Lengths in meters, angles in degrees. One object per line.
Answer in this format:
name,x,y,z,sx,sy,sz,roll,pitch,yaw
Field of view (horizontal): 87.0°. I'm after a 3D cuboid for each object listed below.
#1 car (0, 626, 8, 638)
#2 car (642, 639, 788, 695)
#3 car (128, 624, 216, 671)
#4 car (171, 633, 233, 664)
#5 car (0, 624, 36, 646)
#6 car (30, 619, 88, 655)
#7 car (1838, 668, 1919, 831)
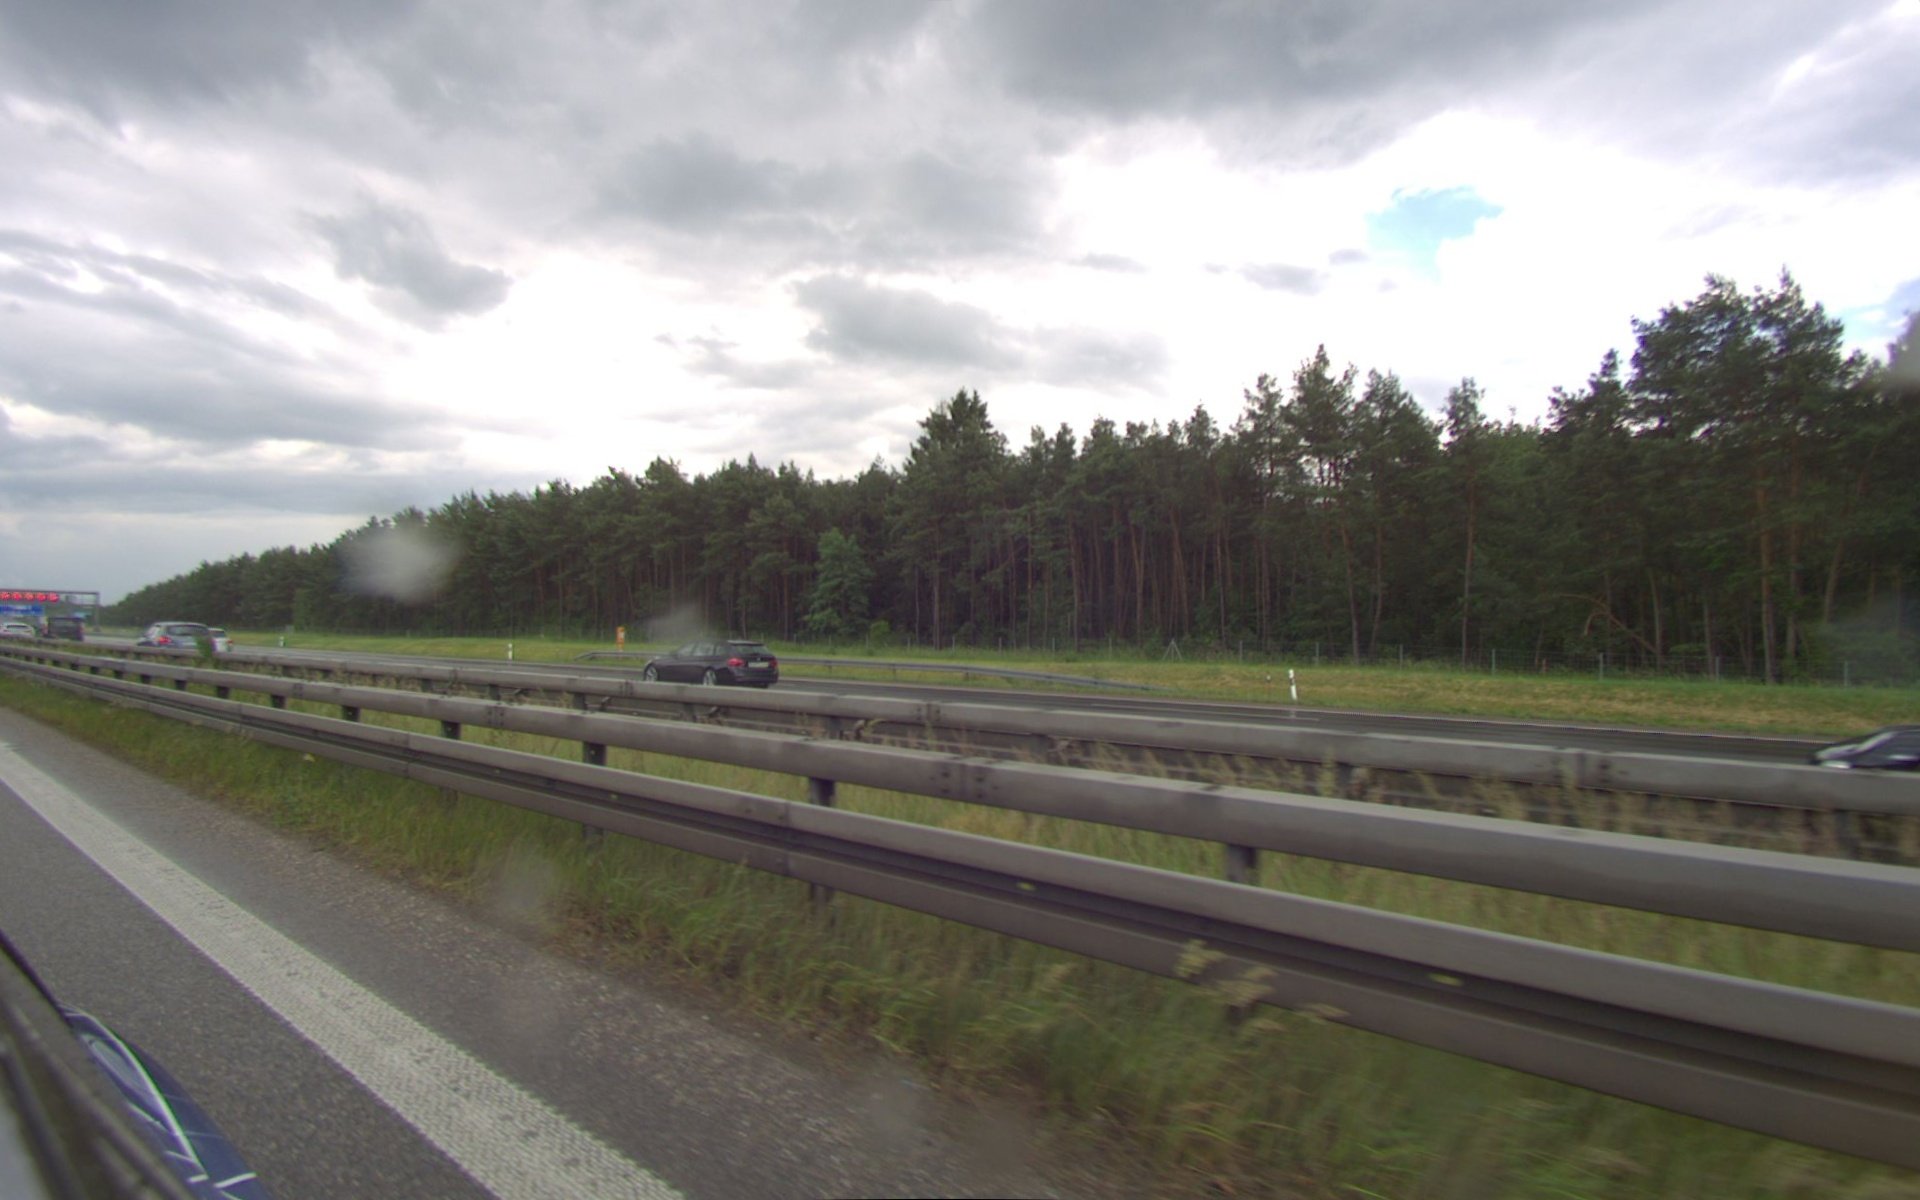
car,-124.205,4.094,130.452,3.998,1.492,1.710,-1,-3,41
car,-6.711,1.788,27.486,4.255,1.369,1.680,-1,-4,41
car,-28.127,1.661,36.106,3.998,1.551,1.752,-1,-2,41
car,-37.701,2.379,50.287,3.998,1.499,1.680,-1,-2,41
car,-71.774,2.644,76.933,4.489,1.601,1.840,-1,-2,42
car,-53.122,2.132,59.628,4.624,2.029,1.972,-1,-2,41
car,9.987,1.269,7.923,4.665,1.335,1.680,-1,-3,41
